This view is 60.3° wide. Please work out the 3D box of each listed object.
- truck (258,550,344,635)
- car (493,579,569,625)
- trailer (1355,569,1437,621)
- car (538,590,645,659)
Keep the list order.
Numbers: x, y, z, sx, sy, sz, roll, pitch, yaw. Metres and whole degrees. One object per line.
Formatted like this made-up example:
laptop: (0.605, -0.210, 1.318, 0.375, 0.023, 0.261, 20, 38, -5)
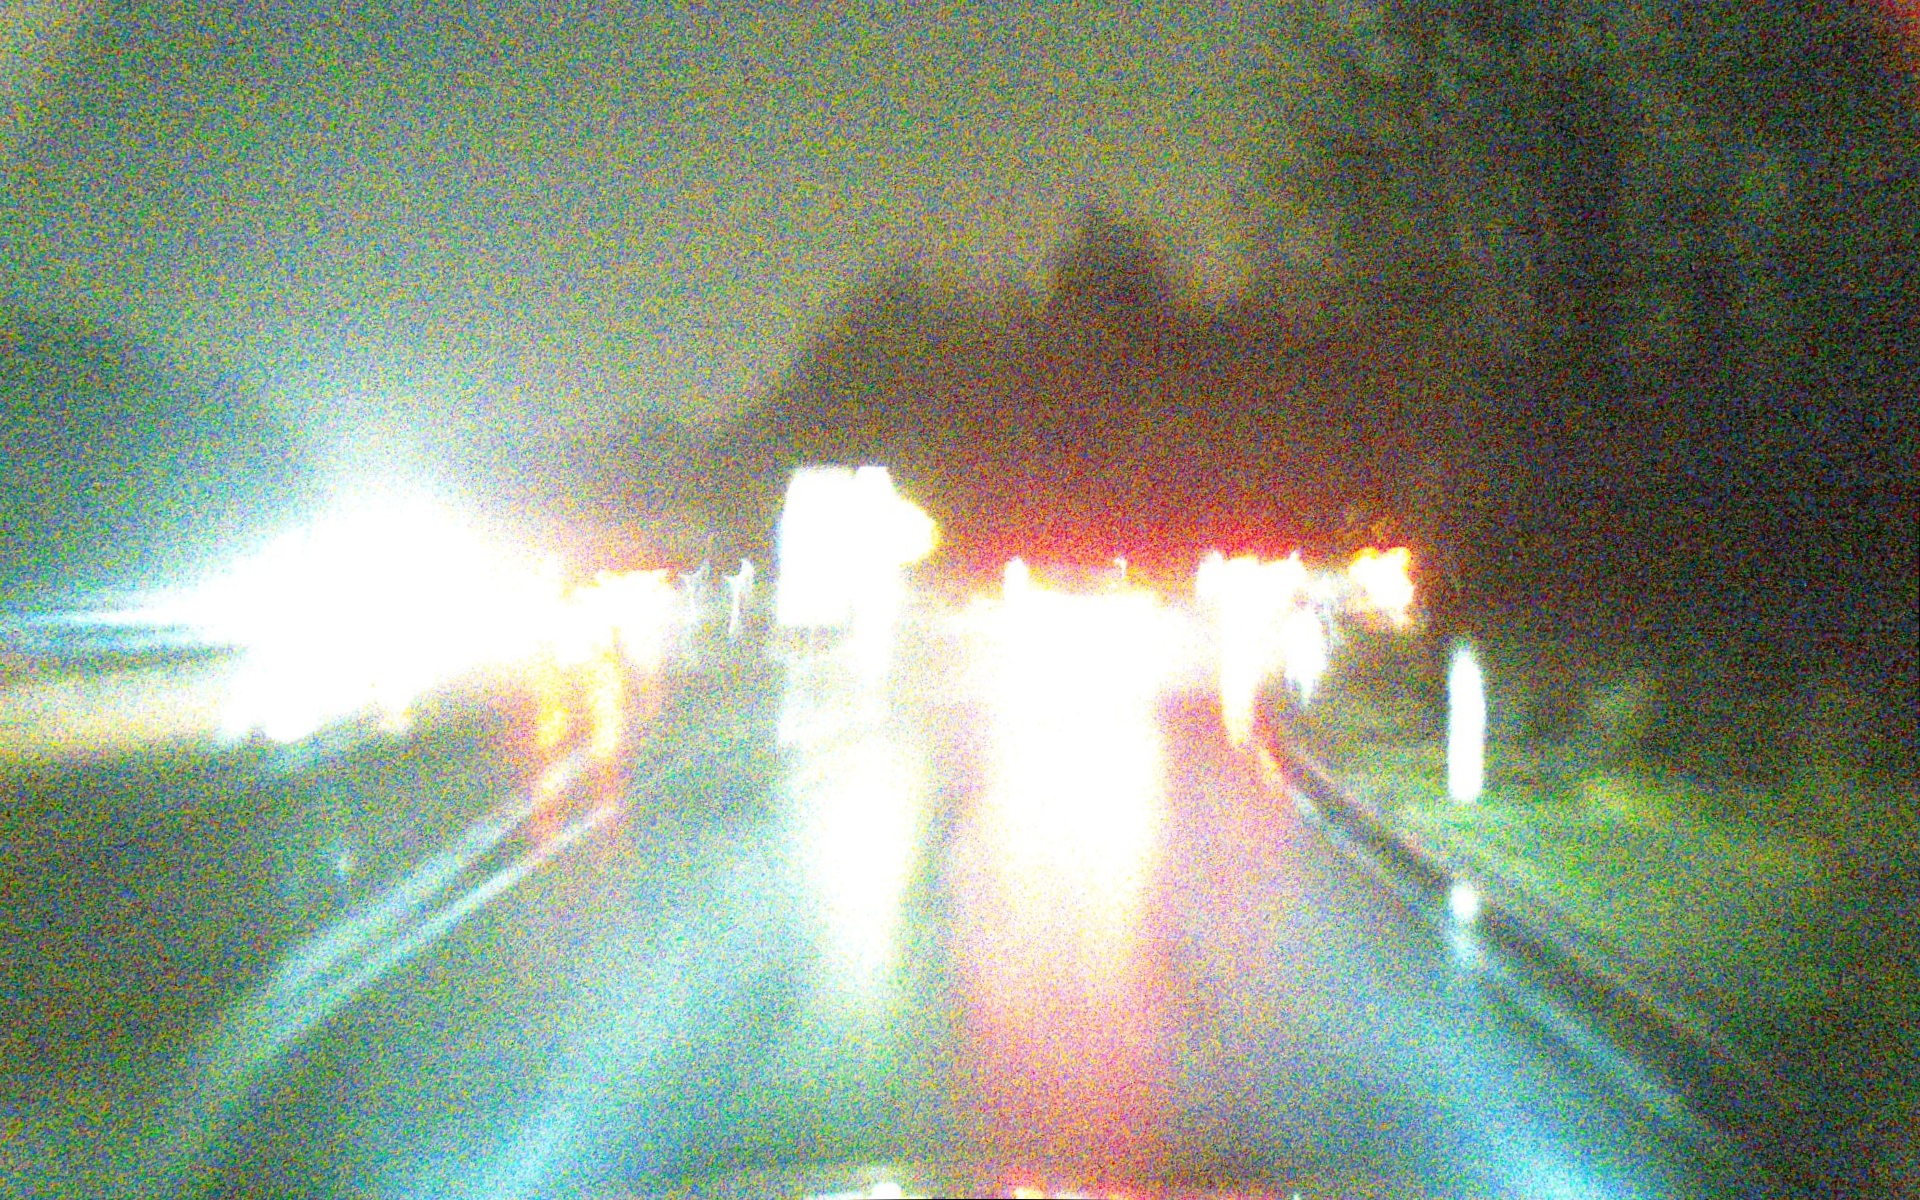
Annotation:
truck: (-32.803, -0.400, 82.615, 3.344, 4.042, 7.424, 0, 0, -17)
car: (-15.141, 0.061, 58.583, 1.733, 1.543, 4.910, 0, 0, -5)
trailer: (18.638, -0.165, 70.346, 2.036, 2.049, 10.645, -1, -1, 22)
car: (-7.891, 0.518, 35.764, 1.925, 1.405, 4.041, 0, -1, -8)
